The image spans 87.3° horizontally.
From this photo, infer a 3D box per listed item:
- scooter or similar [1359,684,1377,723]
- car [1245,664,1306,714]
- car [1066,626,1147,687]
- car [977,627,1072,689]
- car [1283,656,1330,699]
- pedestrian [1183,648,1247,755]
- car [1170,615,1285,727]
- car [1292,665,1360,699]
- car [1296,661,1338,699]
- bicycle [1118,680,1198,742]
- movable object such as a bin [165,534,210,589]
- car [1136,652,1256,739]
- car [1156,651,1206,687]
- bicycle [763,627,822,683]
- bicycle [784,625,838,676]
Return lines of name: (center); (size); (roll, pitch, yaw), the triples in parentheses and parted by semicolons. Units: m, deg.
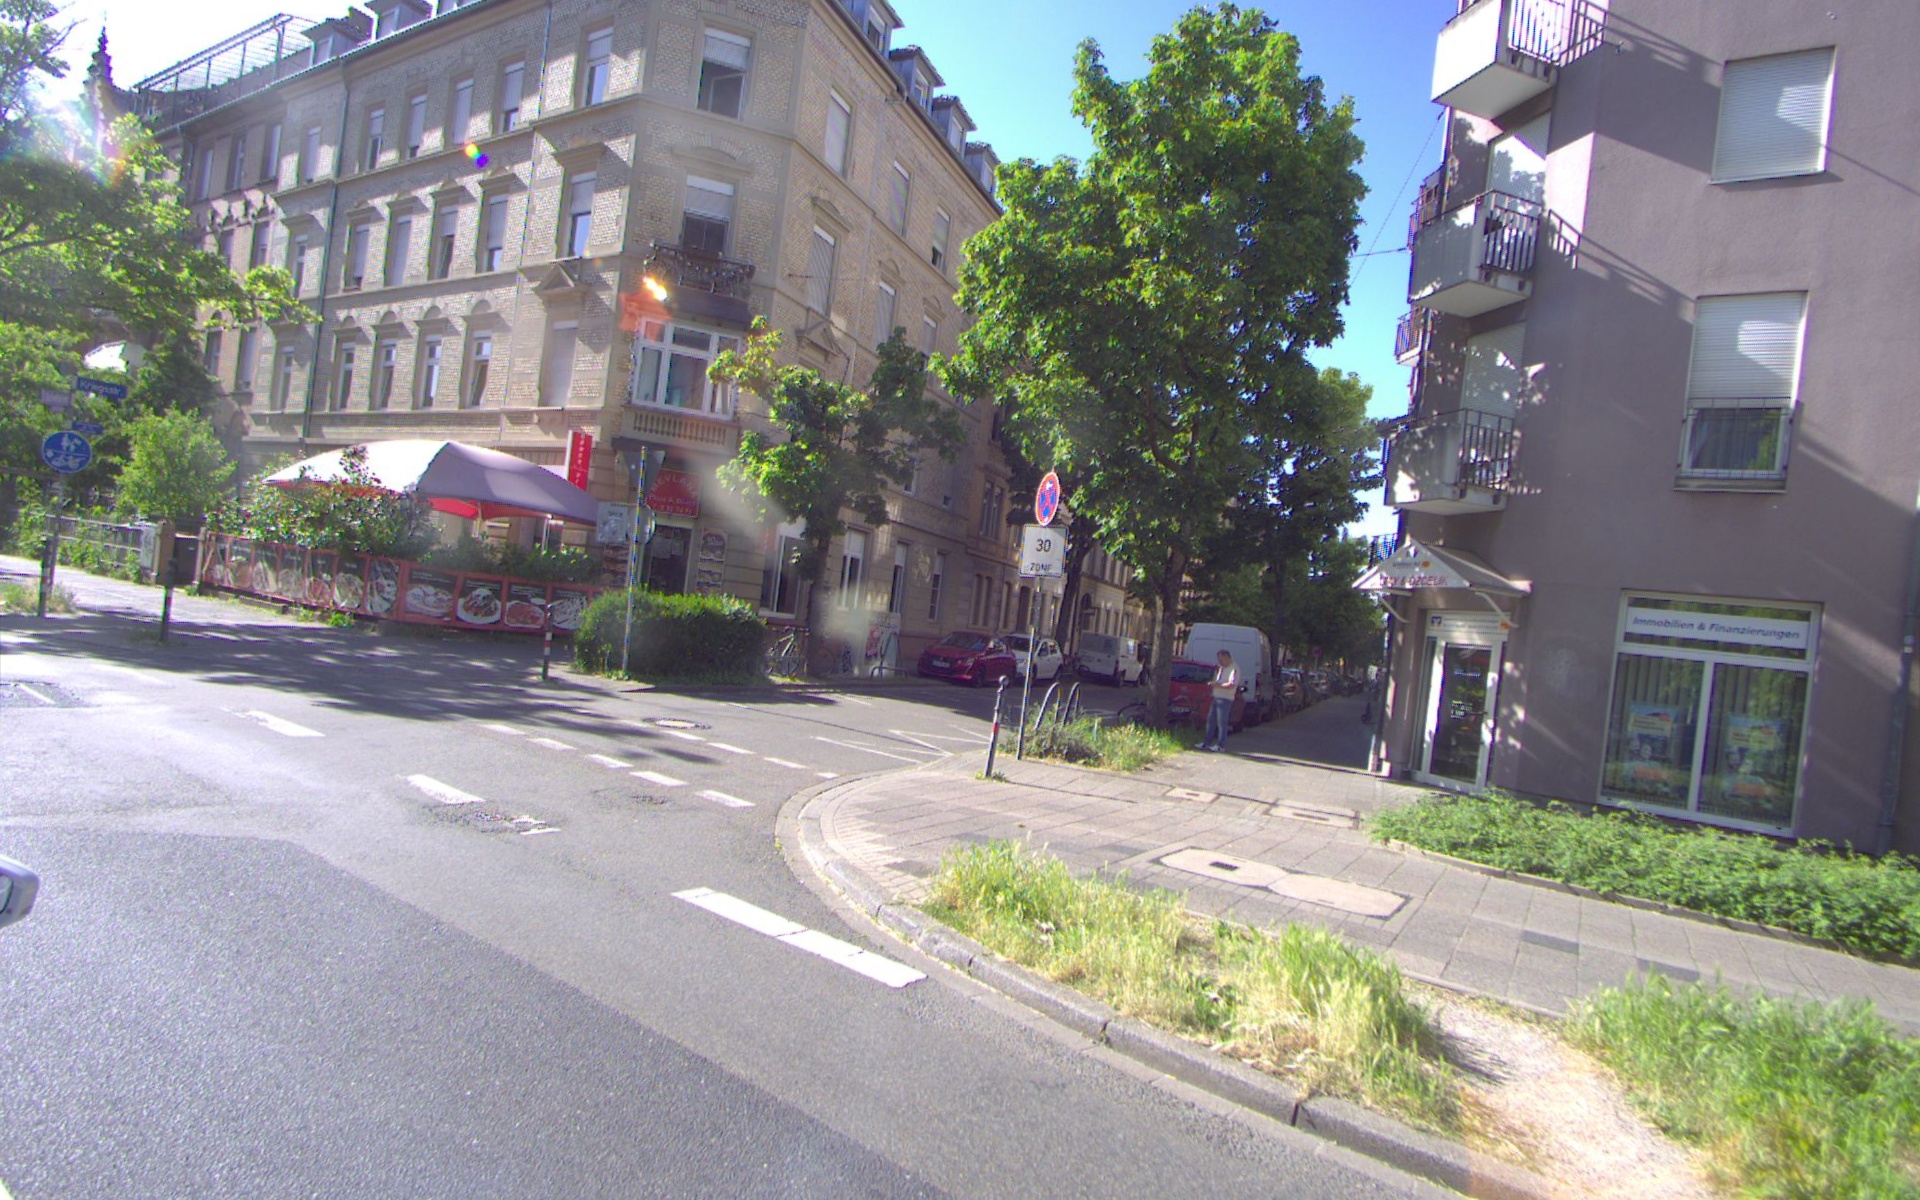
scooter or similar: (13.012, 3.291, 32.063); (0.413, 1.161, 1.373); (5, -1, 23)
car: (11.965, 3.319, 37.975); (1.665, 1.575, 3.821); (7, -1, 24)
car: (6.005, 2.342, 40.822); (1.961, 2.052, 4.305); (7, -2, 24)
car: (2.099, 1.870, 31.745); (1.664, 1.613, 4.002); (7, -2, 22)
car: (17.987, 4.024, 52.094); (1.745, 1.904, 4.000); (7, -2, 25)
pedestrian: (4.048, 1.606, 15.970); (0.526, 1.596, 0.629); (6, 0, -32)
car: (7.282, 1.879, 26.968); (2.179, 2.480, 5.095); (7, -1, 22)
car: (24.040, 5.382, 66.037); (3.928, 1.603, 1.820); (7, -3, 24)
car: (20.544, 4.580, 57.818); (1.745, 1.904, 3.998); (7, -1, 25)
bicycle: (3.257, 1.814, 16.554); (1.181, 0.833, 0.294); (7, 0, 23)
movable object such as a bin: (-17.449, -0.861, 22.734); (0.543, 1.147, 0.569); (7, 0, 34)
car: (5.141, 1.983, 21.504); (1.662, 1.480, 3.999); (7, -1, 24)
car: (10.979, 3.438, 49.781); (1.664, 1.489, 4.002); (7, -2, 22)
bicycle: (-3.185, 1.059, 19.230); (0.386, 0.985, 1.313); (7, -1, 22)
bicycle: (-3.071, 1.067, 20.868); (0.386, 0.985, 1.313); (7, -1, 22)
